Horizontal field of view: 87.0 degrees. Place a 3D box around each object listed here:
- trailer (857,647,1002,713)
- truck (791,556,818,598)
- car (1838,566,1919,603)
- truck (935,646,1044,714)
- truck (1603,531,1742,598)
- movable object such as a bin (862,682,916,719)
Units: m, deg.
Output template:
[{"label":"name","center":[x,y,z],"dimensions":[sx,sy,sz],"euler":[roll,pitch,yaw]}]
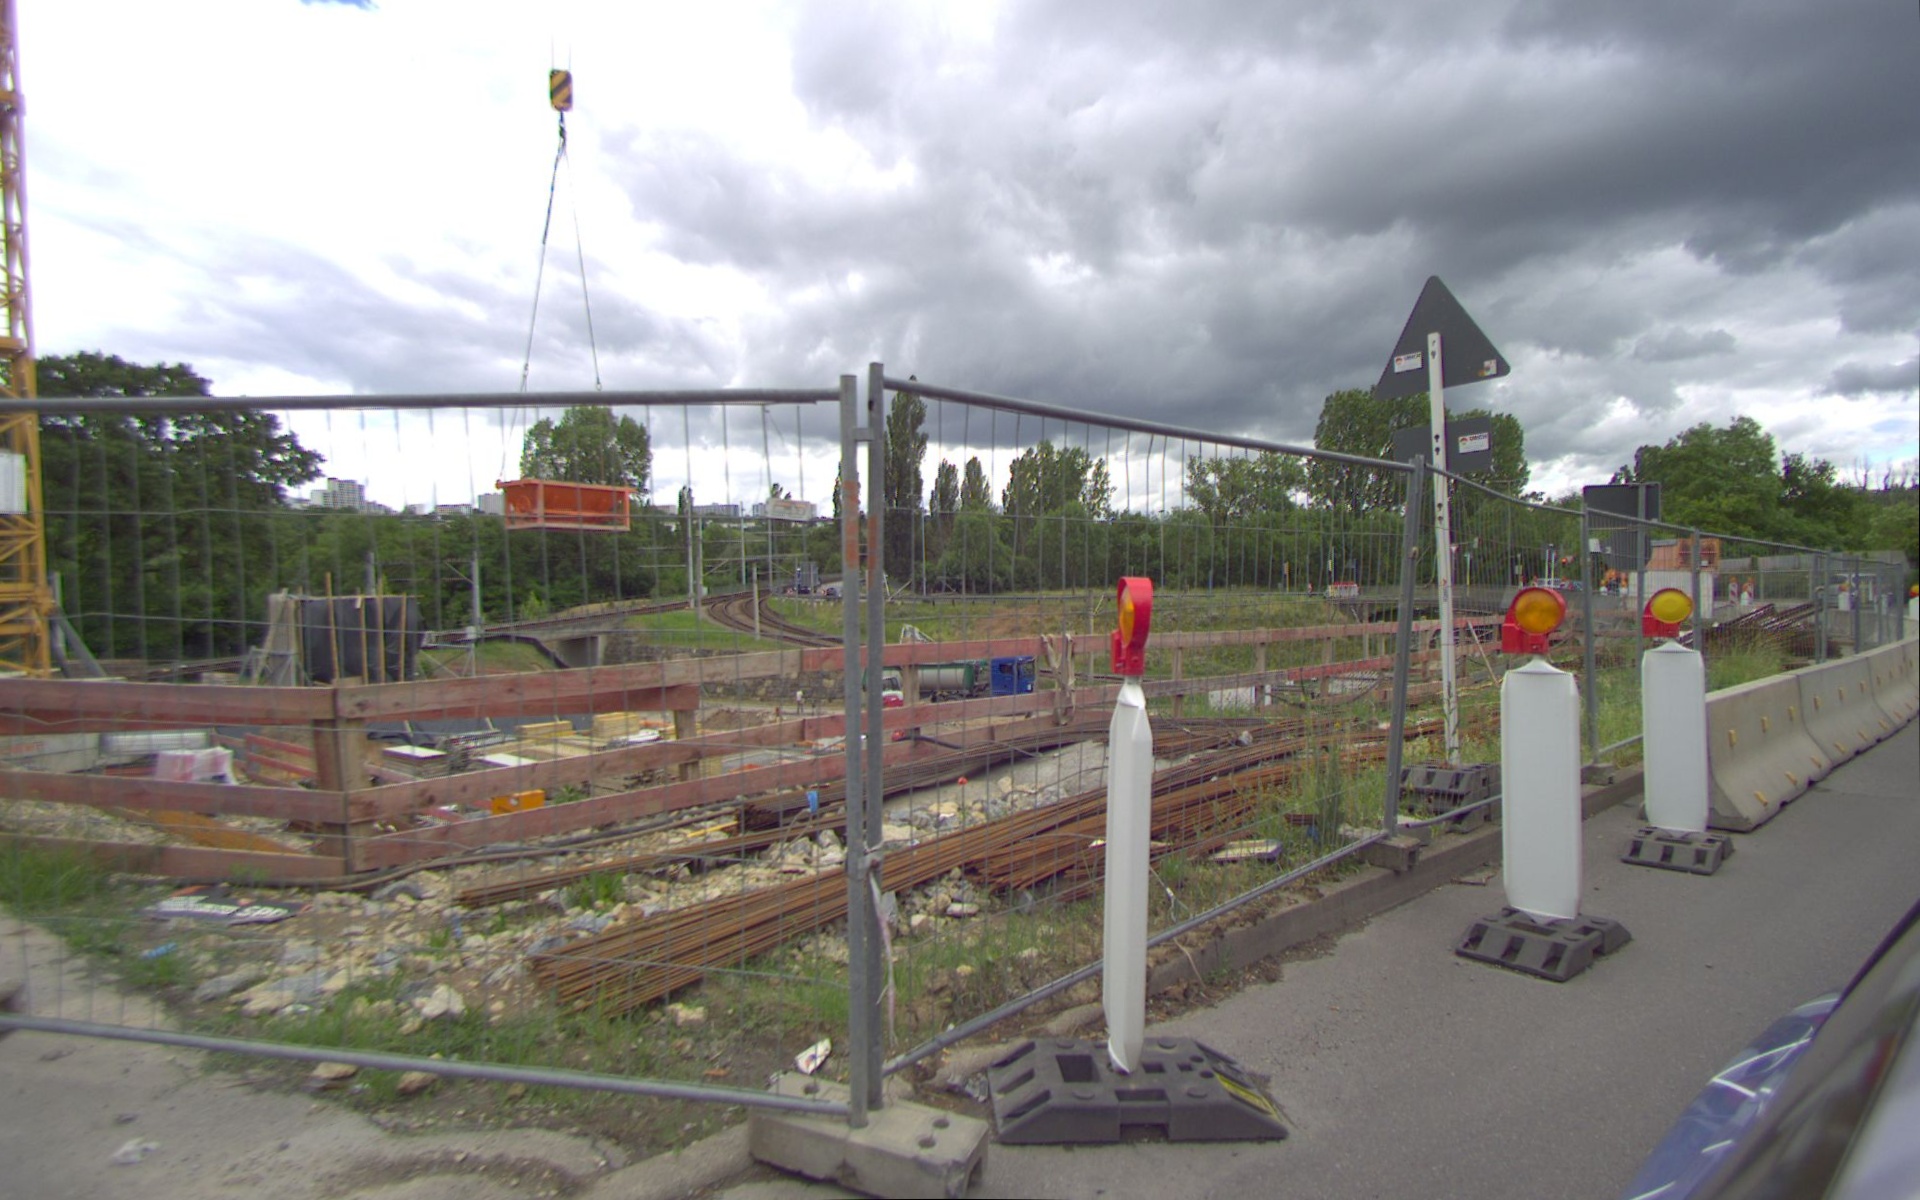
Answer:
[{"label":"trailer","center":[-1.995,5.013,63.683],"dimensions":[9.054,3.810,2.396],"euler":[-2,0,28]},{"label":"truck","center":[-20.903,-3.161,135.473],"dimensions":[2.880,3.140,8.218],"euler":[3,18,-13]},{"label":"car","center":[42.471,-0.731,46.574],"dimensions":[1.873,1.583,4.070],"euler":[-2,0,23]},{"label":"truck","center":[1.785,4.851,61.657],"dimensions":[6.073,3.810,2.396],"euler":[-2,0,28]},{"label":"truck","center":[46.422,-2.219,66.466],"dimensions":[2.989,3.947,9.984],"euler":[-1,0,7]},{"label":"movable object such as a bin","center":[-4.111,5.822,58.922],"dimensions":[2.402,1.851,1.996],"euler":[-2,0,-41]}]
